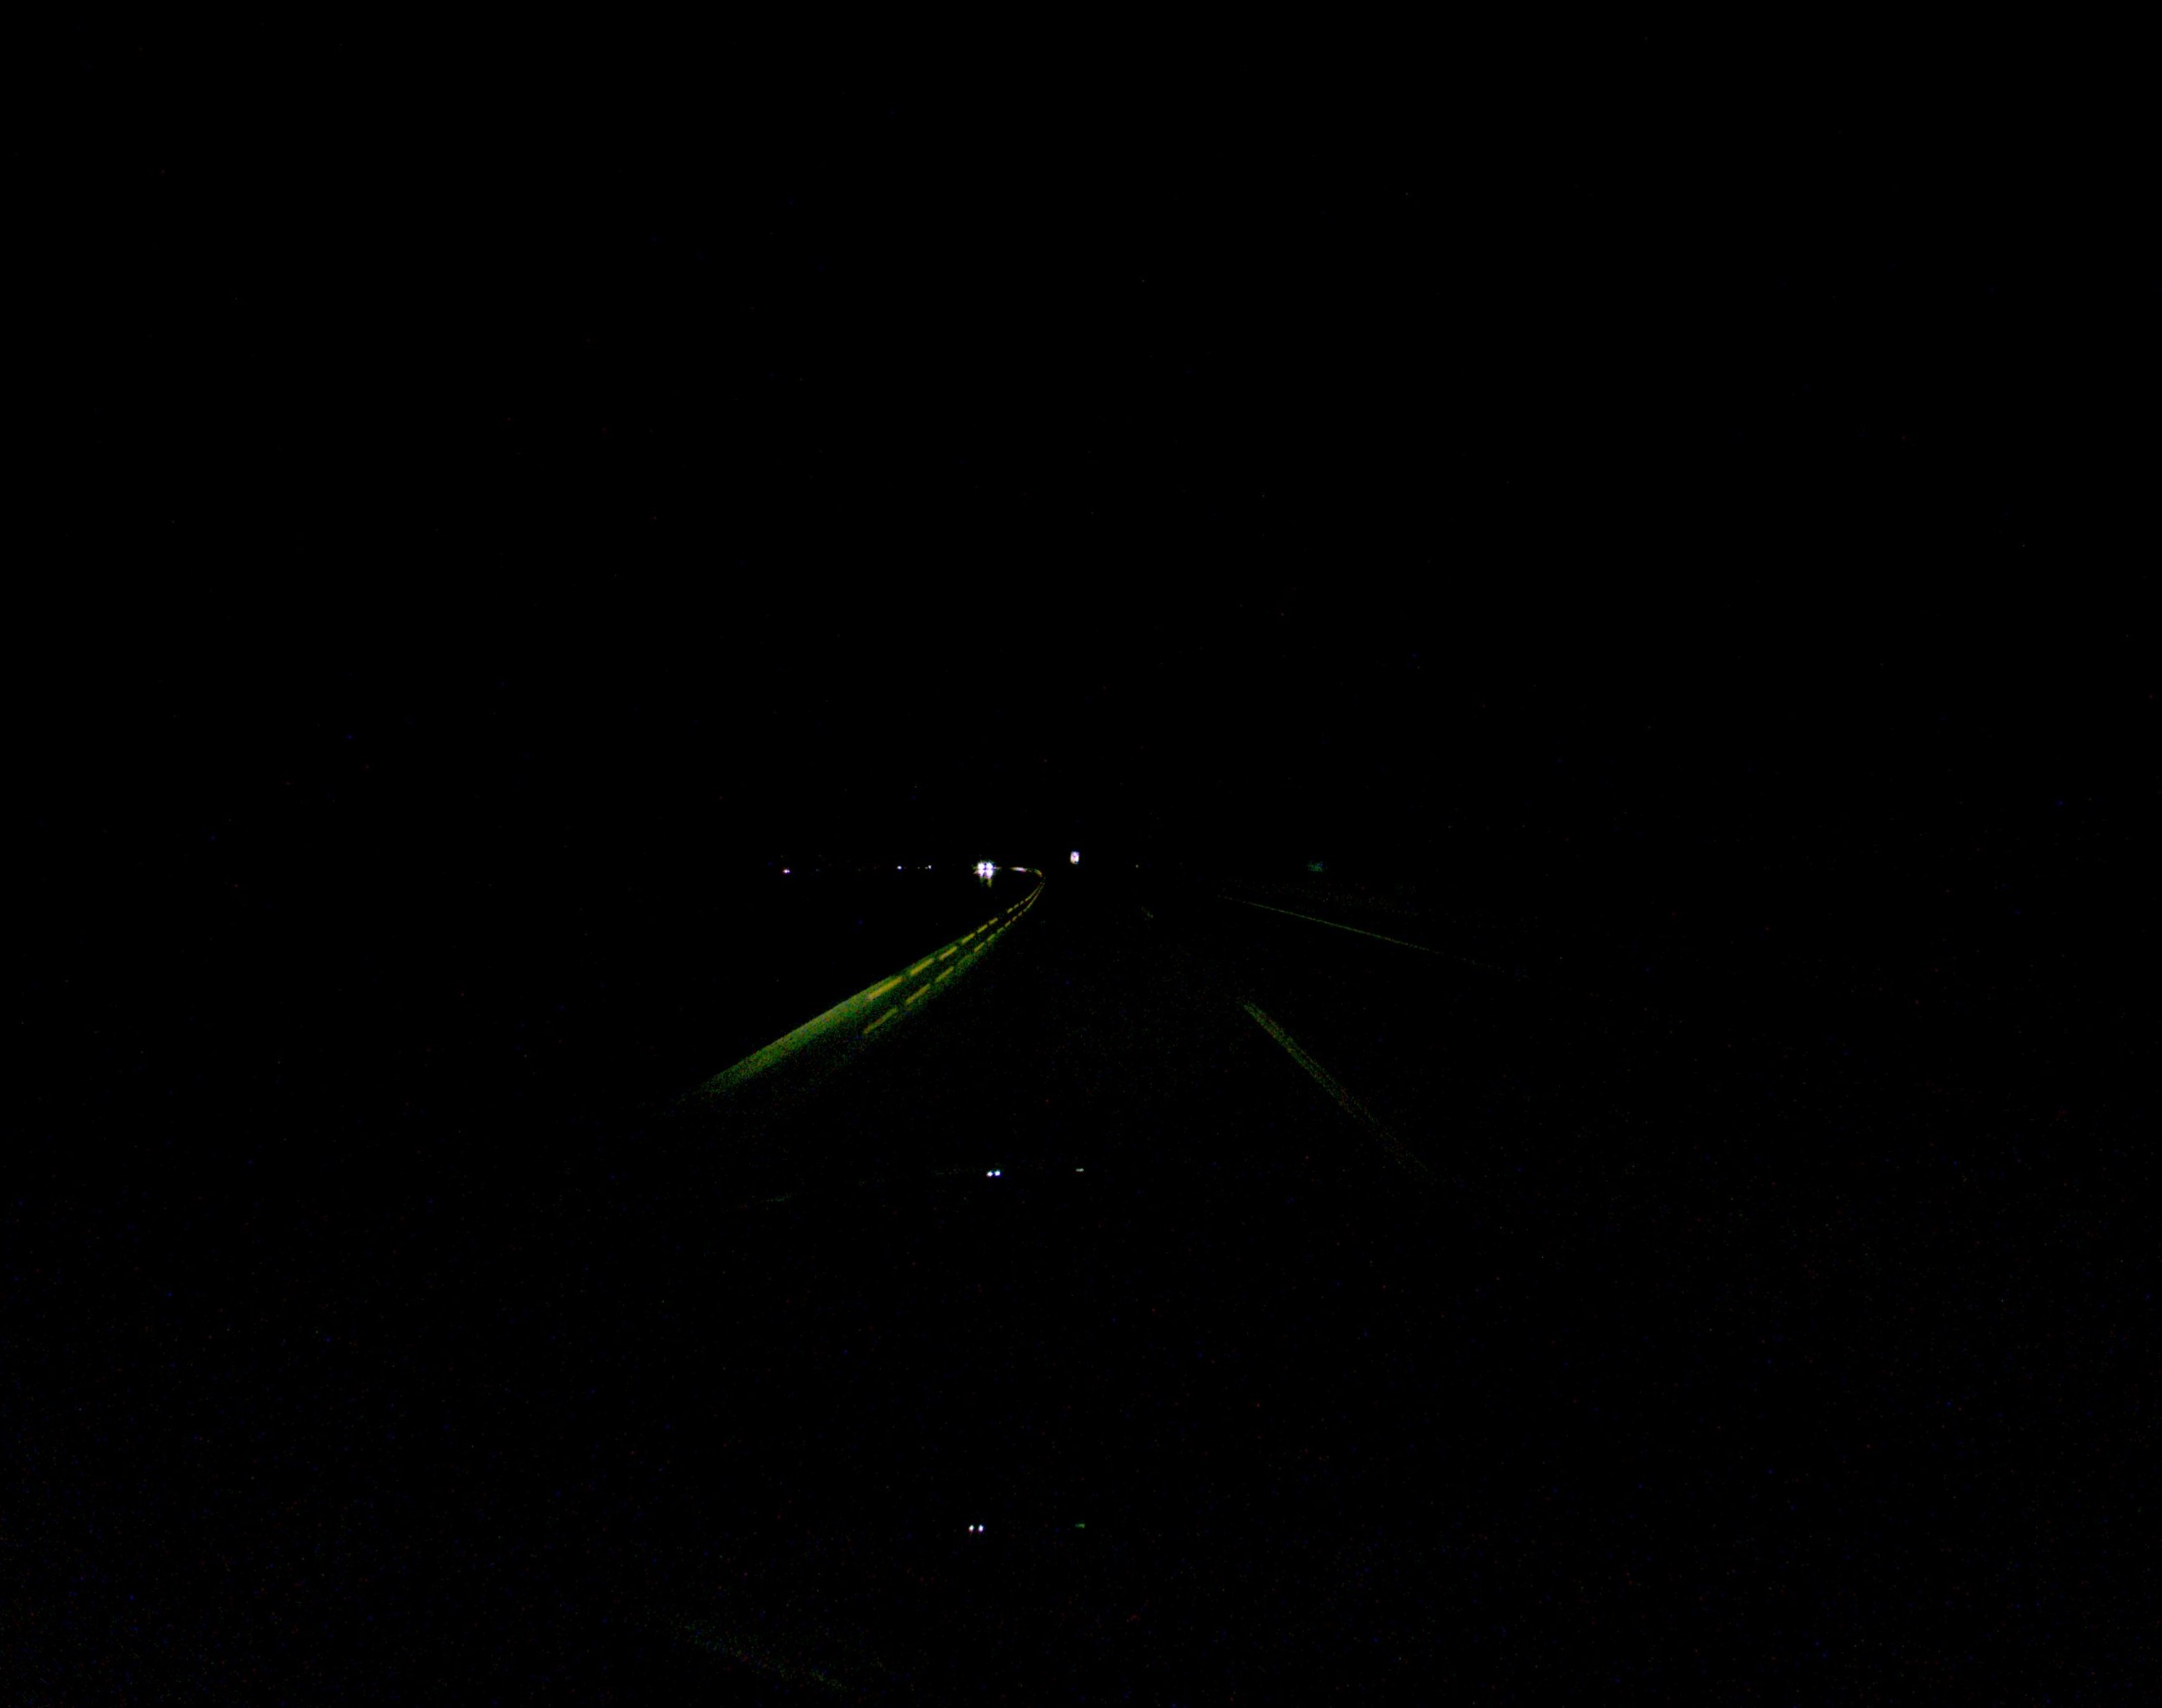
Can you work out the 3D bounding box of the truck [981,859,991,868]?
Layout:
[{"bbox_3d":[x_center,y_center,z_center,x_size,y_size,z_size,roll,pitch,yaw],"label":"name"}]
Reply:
[{"bbox_3d":[-16.771,1.698,144.048,1.681,1.470,4.143,0,-1,-7],"label":"truck"}]
